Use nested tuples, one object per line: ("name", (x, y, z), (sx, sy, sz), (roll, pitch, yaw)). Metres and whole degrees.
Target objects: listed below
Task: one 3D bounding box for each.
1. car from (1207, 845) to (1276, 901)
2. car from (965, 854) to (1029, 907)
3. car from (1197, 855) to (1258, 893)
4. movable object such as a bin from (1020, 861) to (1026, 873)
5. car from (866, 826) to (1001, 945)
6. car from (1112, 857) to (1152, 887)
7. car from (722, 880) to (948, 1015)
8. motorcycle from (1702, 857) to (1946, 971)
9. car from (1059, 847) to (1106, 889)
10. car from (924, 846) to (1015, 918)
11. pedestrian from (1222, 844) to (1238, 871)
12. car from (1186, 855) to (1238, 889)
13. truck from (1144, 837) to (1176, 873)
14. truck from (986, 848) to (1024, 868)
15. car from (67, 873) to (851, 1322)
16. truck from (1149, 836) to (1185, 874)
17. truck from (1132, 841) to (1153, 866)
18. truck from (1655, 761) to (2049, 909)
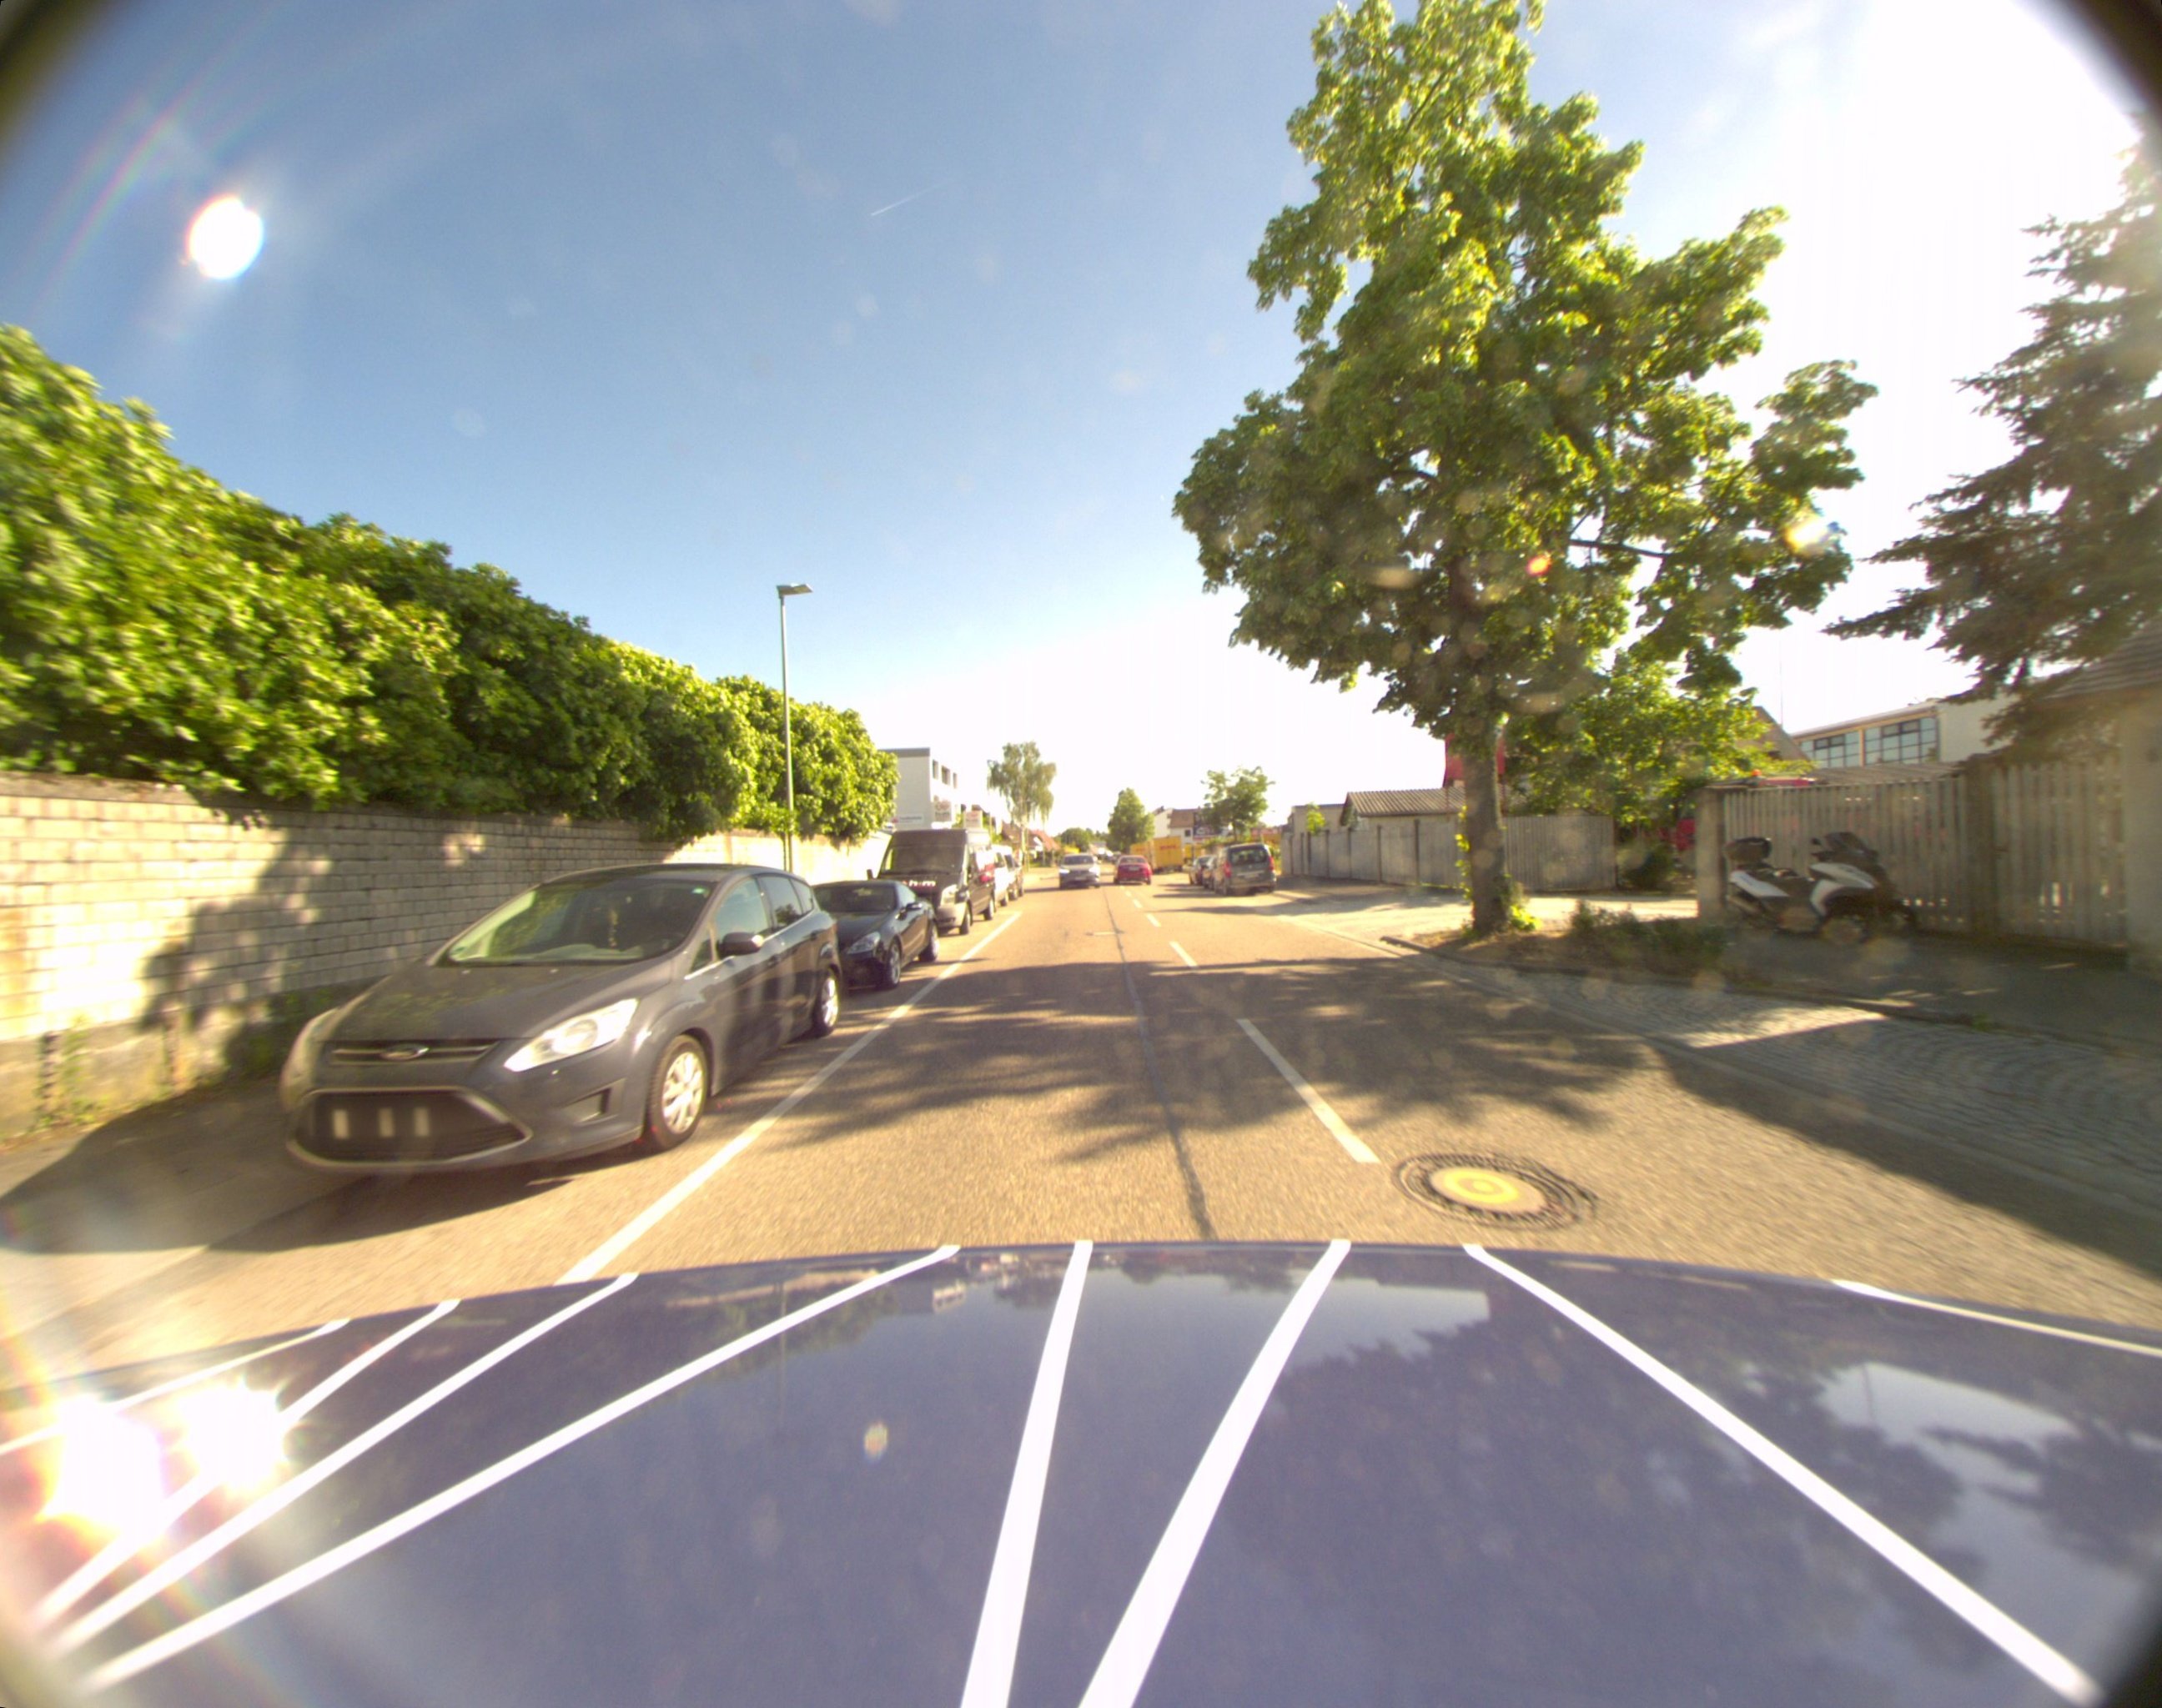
("car", (5.905, 0.648, 28.470), (1.779, 1.838, 4.616), (-4, 0, 4))
("car", (-3.142, 0.932, 29.328), (1.806, 1.733, 4.911), (-3, 1, 0))
("car", (6.328, 0.826, 33.337), (1.780, 1.439, 4.615), (-4, 0, 1))
("movable object such as a bin", (-4.443, 1.008, 58.248), (0.383, 0.950, 0.567), (-1, 0, 4))
("car", (-3.131, 0.611, 17.253), (1.896, 2.247, 5.146), (-1, 0, 1))
("car", (2.573, 0.847, 38.512), (1.874, 1.412, 4.531), (0, 0, 3))
("car", (-3.077, 1.109, 10.451), (1.658, 1.310, 4.104), (-1, 0, 1))
("motorcycle", (9.590, 0.695, 10.015), (0.701, 1.226, 2.539), (-4, 1, 0))
("car", (0.090, 0.625, 36.128), (1.998, 1.750, 5.016), (-3, 0, 0))
("car", (-3.254, 0.759, 23.190), (1.896, 1.914, 4.921), (-1, 0, 1))
("pedestrian", (10.105, 0.225, 51.549), (0.820, 1.733, 0.751), (-4, 1, -6))
("car", (6.465, 0.848, 38.013), (1.780, 1.439, 4.923), (-4, 0, 1))
("truck", (6.885, 0.077, 66.903), (2.145, 2.857, 5.750), (-3, 0, 1))
("truck", (-9.736, 0.541, 97.517), (4.393, 2.451, 1.996), (-1, 0, -24))
("car", (-3.123, 1.032, 5.134), (1.686, 1.604, 4.205), (-3, 0, 1))
("truck", (6.730, 0.042, 60.063), (2.173, 2.698, 5.749), (-3, 1, 1))
("truck", (7.900, -0.146, 98.142), (2.286, 3.012, 5.910), (-3, 1, 1))
("truck", (19.618, -0.468, 19.661), (7.431, 3.320, 2.901), (-2, 1, -2))
